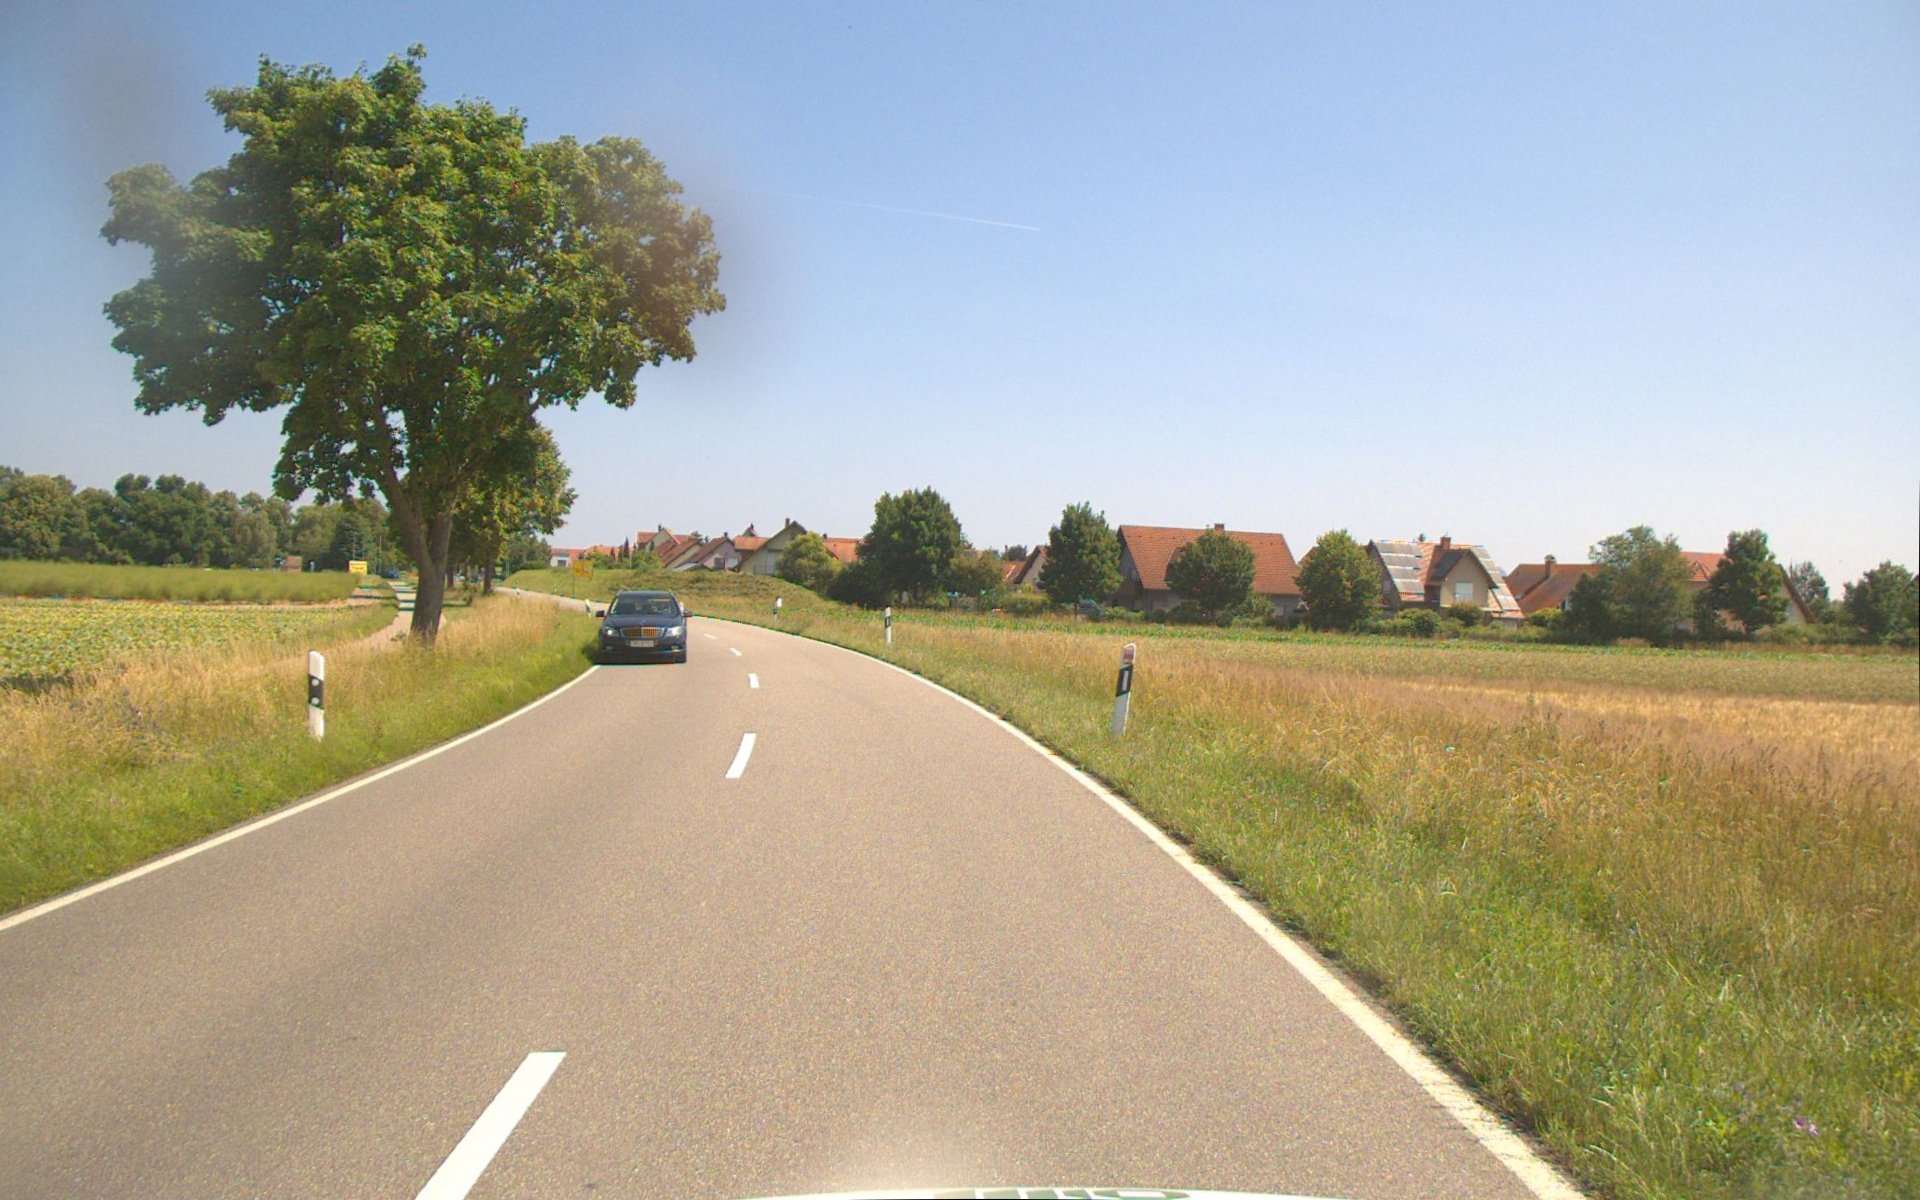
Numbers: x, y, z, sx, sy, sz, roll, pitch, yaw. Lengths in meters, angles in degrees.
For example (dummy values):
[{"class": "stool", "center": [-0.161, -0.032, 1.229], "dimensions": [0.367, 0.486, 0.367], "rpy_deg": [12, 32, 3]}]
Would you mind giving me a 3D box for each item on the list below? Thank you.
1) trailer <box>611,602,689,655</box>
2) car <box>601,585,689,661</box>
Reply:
[{"class": "trailer", "center": [-7.195, 0.631, 38.626], "dimensions": [1.592, 1.083, 4.111], "rpy_deg": [-1, 0, -8]}, {"class": "car", "center": [-6.515, 0.439, 34.534], "dimensions": [1.613, 1.454, 4.172], "rpy_deg": [-1, 0, -8]}]
